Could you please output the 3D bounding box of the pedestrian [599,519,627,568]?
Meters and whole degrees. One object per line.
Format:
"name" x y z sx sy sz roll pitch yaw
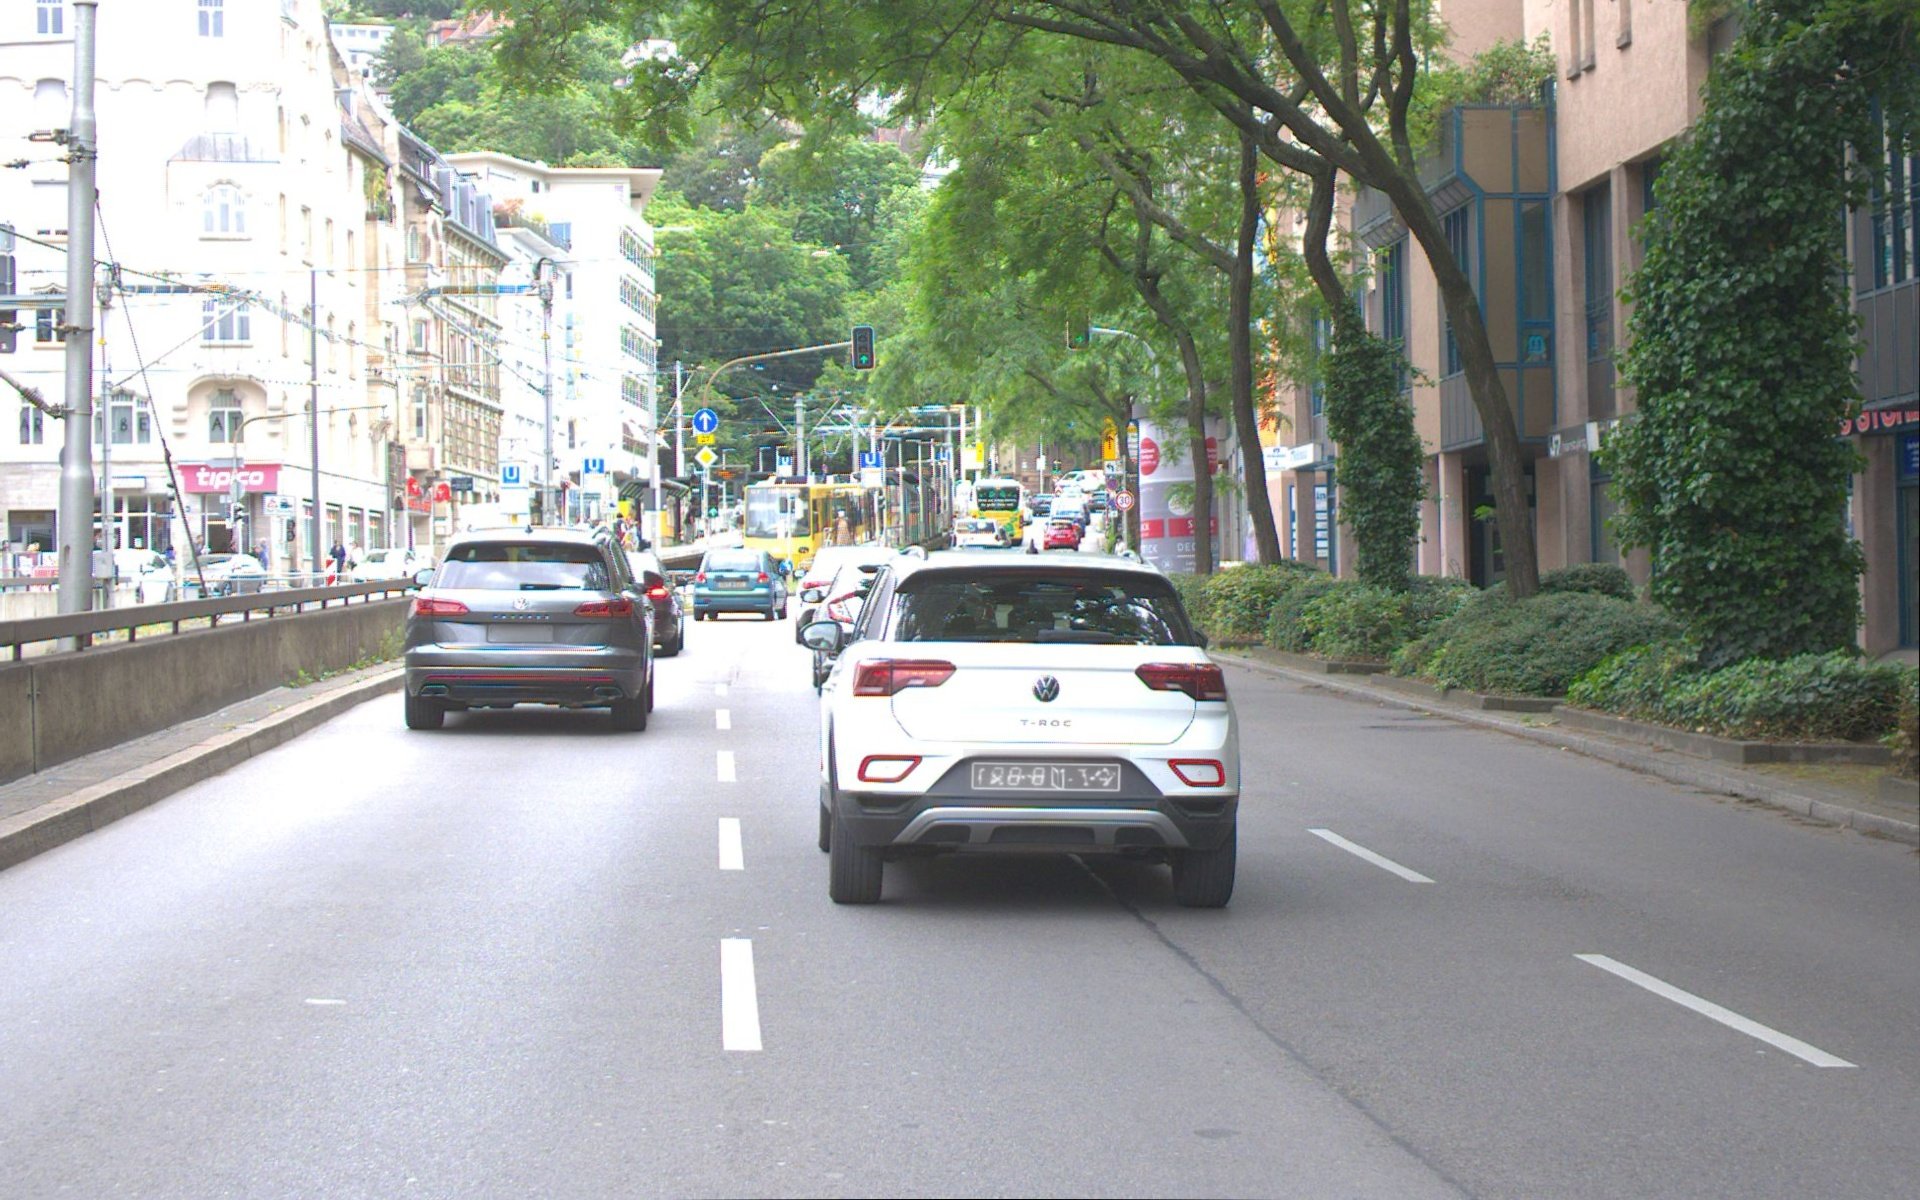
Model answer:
"pedestrian" -12.467 -2.030 123.571 0.627 1.756 0.846 -1 1 -39

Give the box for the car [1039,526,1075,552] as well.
"car" 4.540 -2.836 160.534 1.582 1.168 3.678 1 1 3

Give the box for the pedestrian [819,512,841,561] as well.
"pedestrian" -4.549 -2.235 120.431 0.685 1.705 0.712 0 1 3

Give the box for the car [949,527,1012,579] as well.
"car" 0.704 -1.569 114.866 1.885 1.678 4.161 1 1 3

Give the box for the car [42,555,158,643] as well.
"car" -19.520 -0.042 78.148 1.833 1.836 4.606 3 0 -6

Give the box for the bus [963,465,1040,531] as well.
"bus" 2.185 -5.117 174.842 3.372 3.054 13.324 1 1 3

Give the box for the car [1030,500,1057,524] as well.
"car" 5.532 -5.795 226.653 1.673 1.555 3.678 1 1 3

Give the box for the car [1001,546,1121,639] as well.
"car" 2.239 -0.184 77.836 2.364 2.007 5.148 1 1 -2

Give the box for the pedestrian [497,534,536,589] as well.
"pedestrian" -13.862 -1.197 107.528 0.876 1.699 0.811 0 1 32

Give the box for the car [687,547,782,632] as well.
"car" -4.633 -0.229 70.676 1.884 1.678 4.162 1 1 -4

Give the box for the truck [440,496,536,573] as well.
"truck" -19.329 -2.660 141.183 2.267 3.066 7.373 1 1 5

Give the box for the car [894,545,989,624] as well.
"car" -0.519 -0.427 91.725 2.364 2.007 5.148 1 1 -2

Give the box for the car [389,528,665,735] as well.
"car" -3.574 0.217 29.035 1.993 1.630 4.001 0 1 -3

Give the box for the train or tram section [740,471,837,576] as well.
"train or tram section" -6.130 -2.761 123.554 2.835 3.666 5.751 1 2 3

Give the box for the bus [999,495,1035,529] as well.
"bus" 3.481 -5.375 209.790 1.993 2.007 4.000 1 1 -2

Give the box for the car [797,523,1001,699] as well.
"car" -0.685 0.083 35.357 1.884 1.678 4.162 1 1 -4

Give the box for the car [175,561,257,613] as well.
"car" -22.444 -0.409 103.825 1.664 1.496 4.043 -1 1 -2

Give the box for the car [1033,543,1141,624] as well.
"car" 3.227 -0.446 88.451 2.364 2.007 5.148 1 1 -2

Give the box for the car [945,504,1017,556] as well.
"car" 0.875 -2.790 138.593 2.365 2.007 5.147 1 1 6

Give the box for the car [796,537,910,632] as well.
"car" -2.412 -0.355 75.985 2.364 2.007 5.149 1 1 -3

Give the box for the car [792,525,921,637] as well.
"car" -1.672 -0.315 54.337 1.884 1.678 4.162 1 1 -4

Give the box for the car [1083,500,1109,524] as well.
"car" 9.228 -5.964 233.119 1.673 1.555 3.678 1 1 3

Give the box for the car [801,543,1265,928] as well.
"car" 0.208 0.542 16.308 1.837 1.578 4.157 1 1 -4

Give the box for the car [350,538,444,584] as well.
"car" -19.480 -1.354 119.201 1.750 1.555 4.512 1 1 11
